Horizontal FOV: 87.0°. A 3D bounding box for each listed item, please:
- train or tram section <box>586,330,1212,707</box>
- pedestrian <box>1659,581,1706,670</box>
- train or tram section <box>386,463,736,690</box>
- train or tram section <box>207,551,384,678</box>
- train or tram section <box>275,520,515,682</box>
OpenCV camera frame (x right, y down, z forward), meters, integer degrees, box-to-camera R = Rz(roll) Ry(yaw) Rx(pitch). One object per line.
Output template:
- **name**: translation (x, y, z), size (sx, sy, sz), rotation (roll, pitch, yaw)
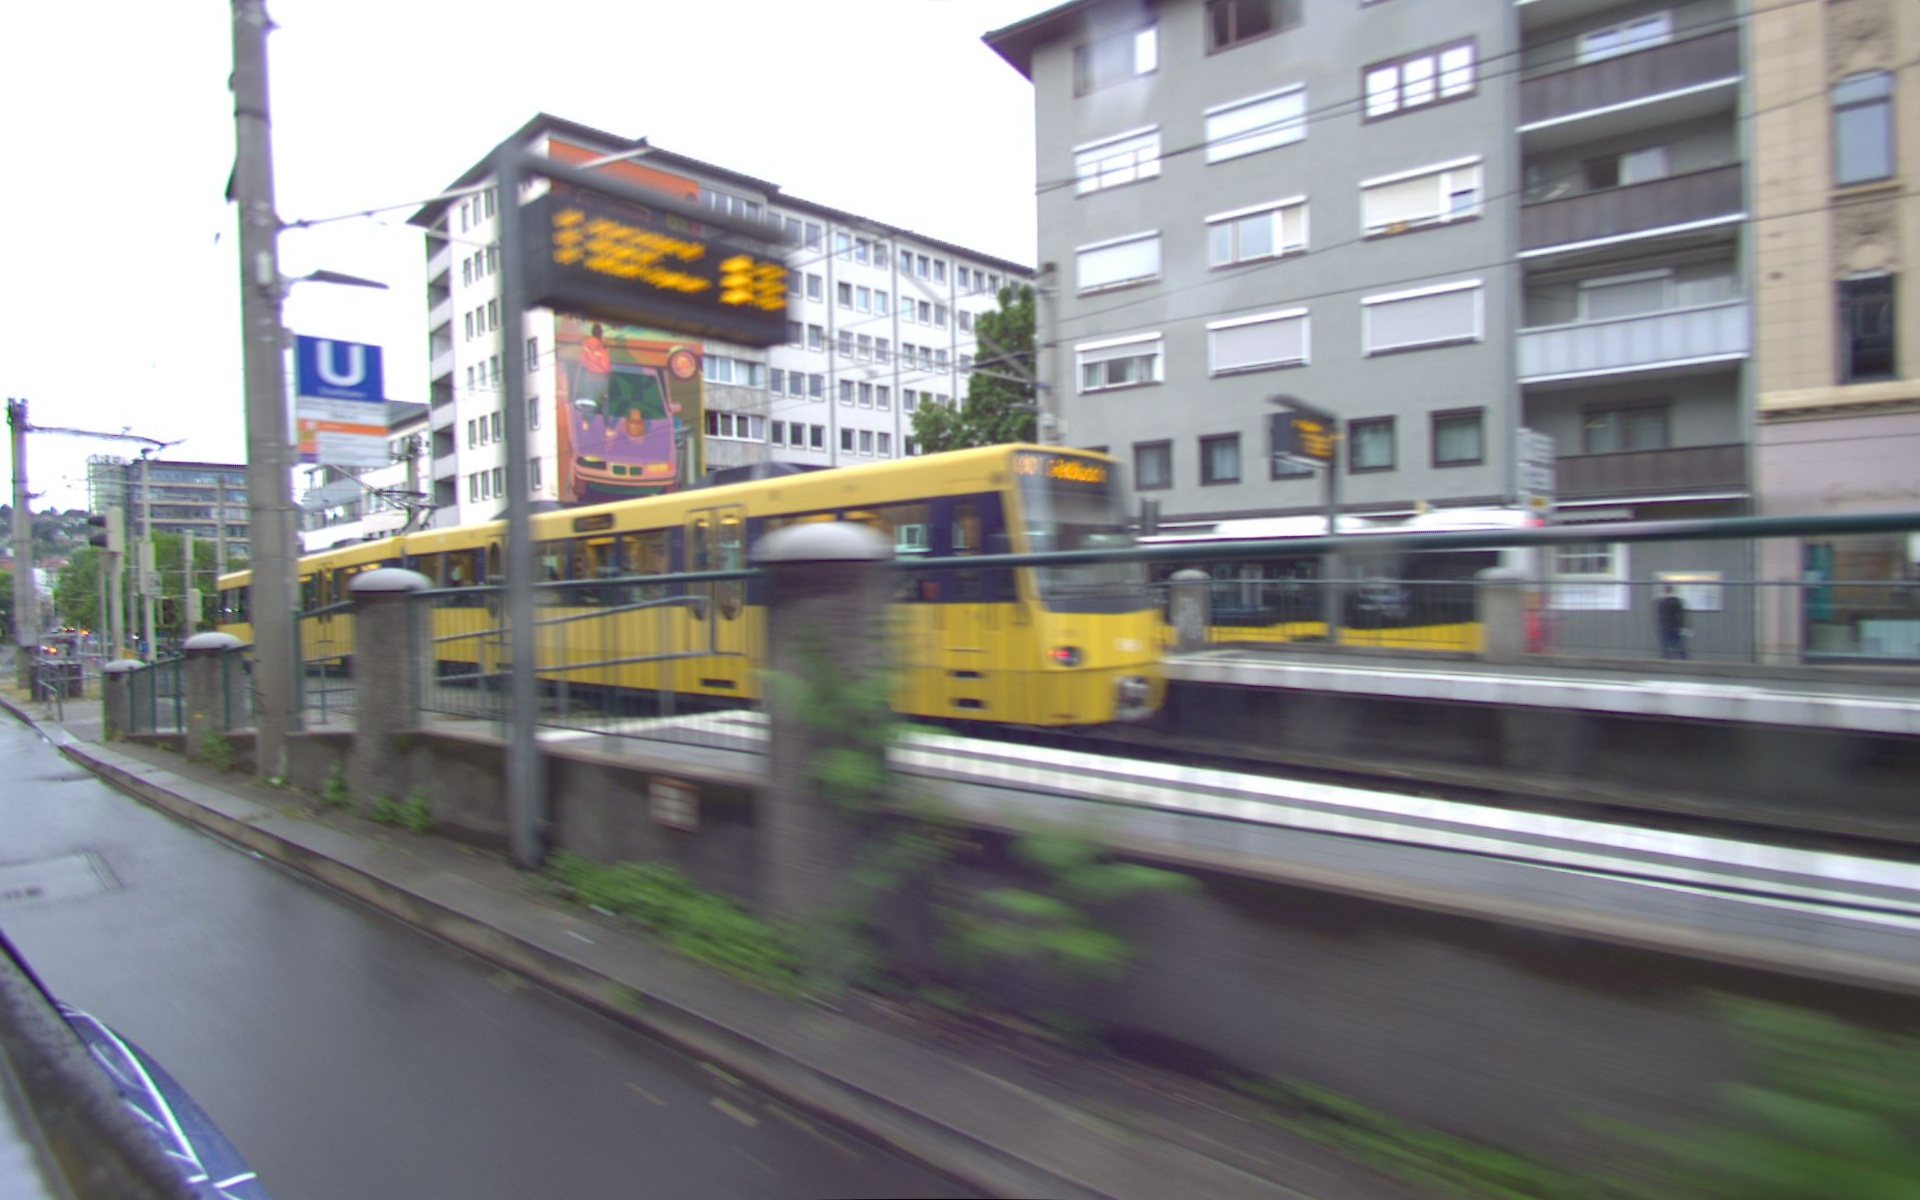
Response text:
- **train or tram section**: translation (-1.578, -0.658, 14.321), size (9.714, 3.719, 2.749), rotation (-3, 0, 43)
- **pedestrian**: translation (14.032, 0.484, 19.665), size (0.416, 1.695, 0.609), rotation (-3, 1, -39)
- **train or tram section**: translation (-8.613, -0.243, 20.873), size (9.509, 3.719, 2.749), rotation (-3, 0, 43)
- **train or tram section**: translation (-22.306, 0.563, 33.685), size (8.975, 3.719, 2.749), rotation (-3, 0, 43)
- **train or tram section**: translation (-15.550, 0.165, 27.372), size (9.509, 3.719, 2.749), rotation (-3, 0, 43)
